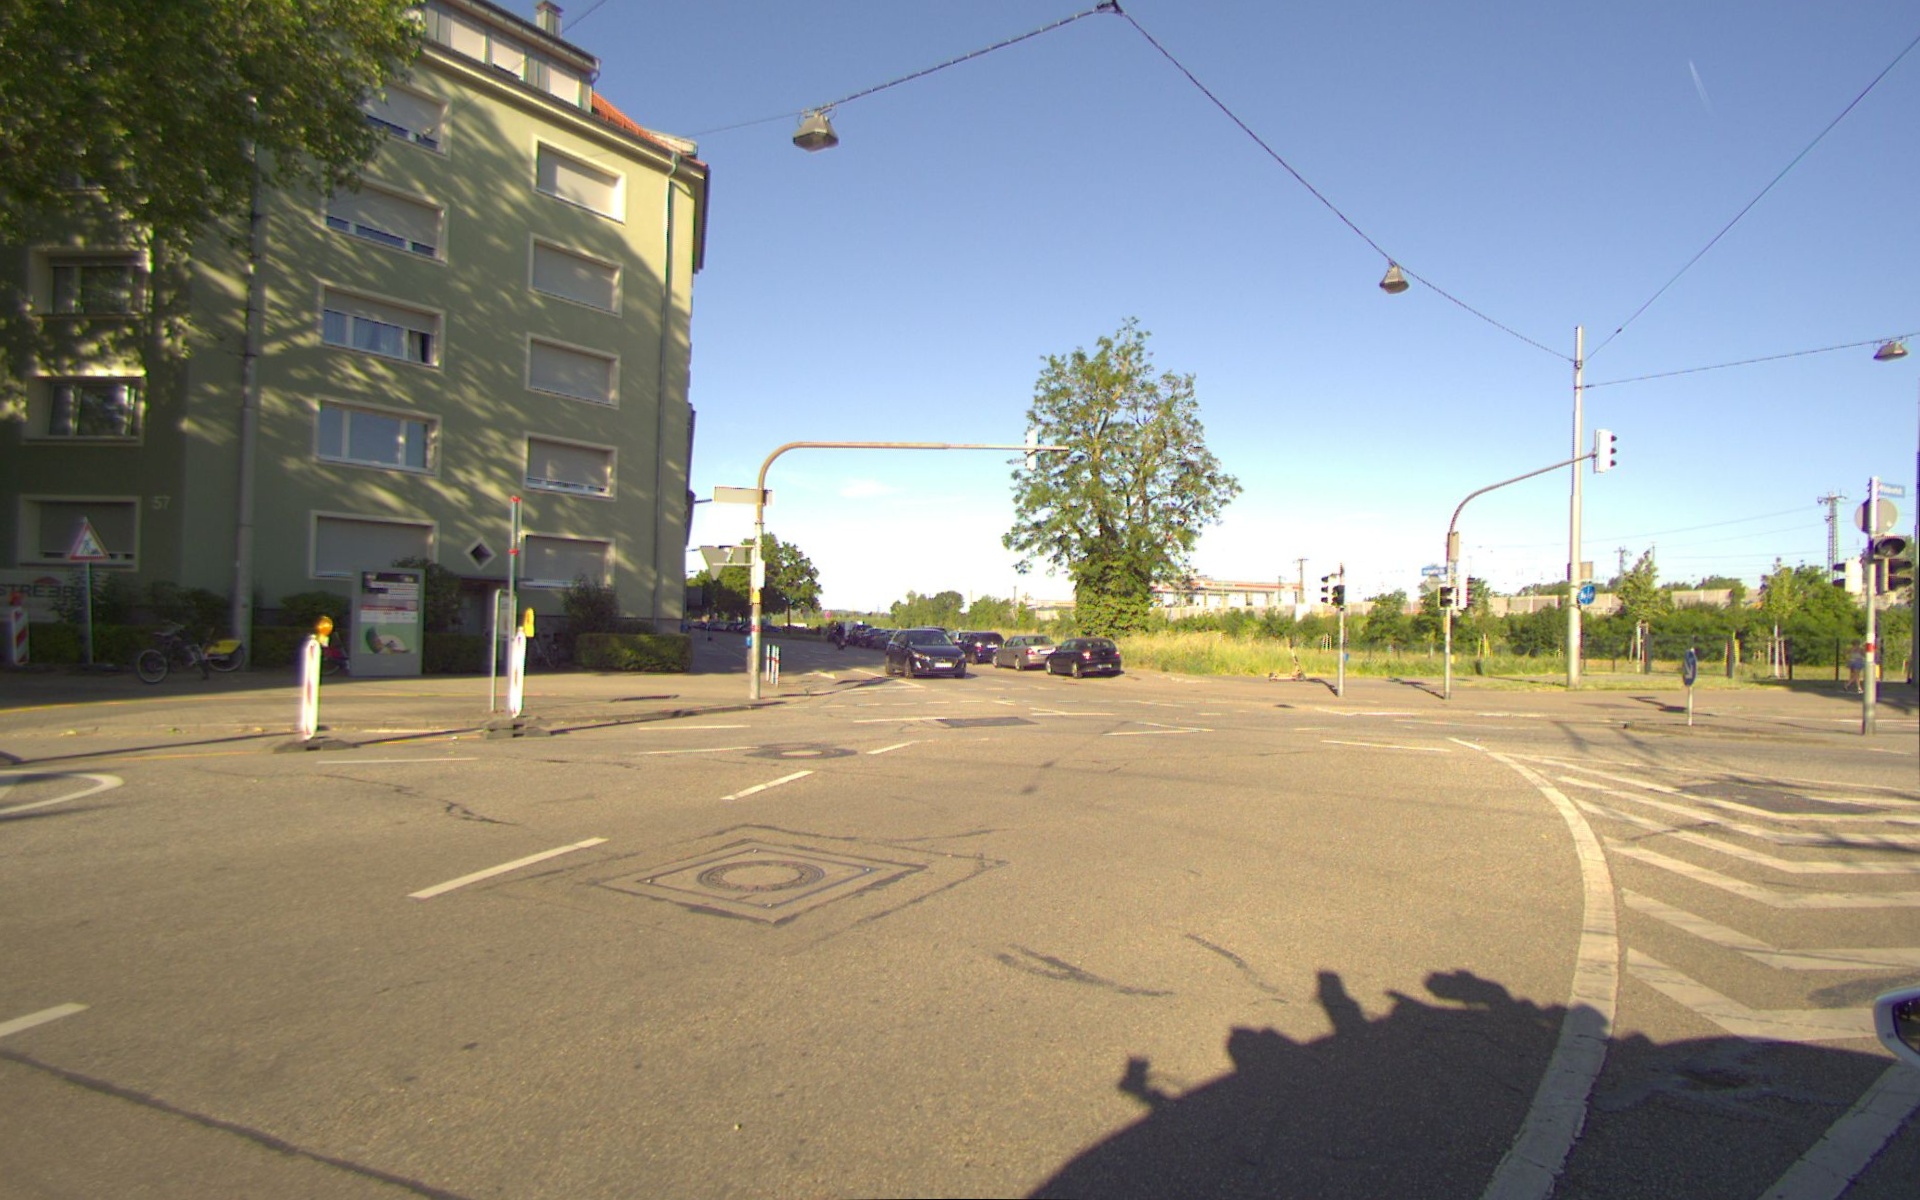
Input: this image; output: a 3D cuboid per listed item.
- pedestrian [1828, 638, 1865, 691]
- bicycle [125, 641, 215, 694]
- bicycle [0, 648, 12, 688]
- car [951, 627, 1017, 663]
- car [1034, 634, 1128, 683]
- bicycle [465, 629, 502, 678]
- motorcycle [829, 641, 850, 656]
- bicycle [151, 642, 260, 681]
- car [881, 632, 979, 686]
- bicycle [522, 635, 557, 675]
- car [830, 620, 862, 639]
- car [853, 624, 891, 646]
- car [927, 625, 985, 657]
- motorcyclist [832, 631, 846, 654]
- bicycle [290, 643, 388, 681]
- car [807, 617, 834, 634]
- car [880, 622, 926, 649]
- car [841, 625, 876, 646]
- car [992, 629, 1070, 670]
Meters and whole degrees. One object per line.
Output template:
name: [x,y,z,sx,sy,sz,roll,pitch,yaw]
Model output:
pedestrian: [27.842,2.008,31.551,0.674,1.617,0.599,1,0,-18]
bicycle: [-14.687,1.235,18.732,0.351,0.900,1.780,1,-1,-4]
bicycle: [-19.618,1.321,19.488,1.753,0.769,0.357,1,-1,-20]
car: [1.117,2.139,48.719,1.864,1.439,3.984,-5,1,-18]
car: [4.373,2.096,37.021,1.864,1.439,3.984,-5,1,-18]
bicycle: [-12.549,1.392,26.460,1.492,1.221,0.356,-1,-2,44]
motorcycle: [-7.806,3.133,64.944,0.722,0.882,2.331,1,0,-23]
bicycle: [-15.474,1.252,20.645,1.762,0.769,0.355,2,-1,-35]
car: [-0.998,1.736,30.728,1.968,1.439,3.984,0,-1,-18]
bicycle: [-12.059,1.570,28.798,1.492,1.102,0.356,-1,-2,44]
car: [-9.802,2.495,86.364,1.864,1.439,3.984,-5,1,-18]
car: [-6.592,2.602,75.130,1.864,1.439,3.984,-5,1,-18]
car: [-0.273,2.129,53.098,1.864,1.439,3.984,-5,1,-18]
motorcyclist: [-7.846,2.730,65.087,0.704,1.453,0.791,1,0,-23]
bicycle: [-13.358,1.328,21.655,0.353,0.769,1.773,0,-2,38]
car: [-13.711,2.461,98.803,1.864,1.439,3.984,-5,1,-18]
car: [-3.672,2.239,64.309,1.864,1.439,3.984,-5,1,-18]
car: [-8.187,2.824,80.678,1.864,1.439,3.984,-5,1,-18]
car: [2.951,2.050,42.486,1.864,1.439,3.984,-5,1,-18]
